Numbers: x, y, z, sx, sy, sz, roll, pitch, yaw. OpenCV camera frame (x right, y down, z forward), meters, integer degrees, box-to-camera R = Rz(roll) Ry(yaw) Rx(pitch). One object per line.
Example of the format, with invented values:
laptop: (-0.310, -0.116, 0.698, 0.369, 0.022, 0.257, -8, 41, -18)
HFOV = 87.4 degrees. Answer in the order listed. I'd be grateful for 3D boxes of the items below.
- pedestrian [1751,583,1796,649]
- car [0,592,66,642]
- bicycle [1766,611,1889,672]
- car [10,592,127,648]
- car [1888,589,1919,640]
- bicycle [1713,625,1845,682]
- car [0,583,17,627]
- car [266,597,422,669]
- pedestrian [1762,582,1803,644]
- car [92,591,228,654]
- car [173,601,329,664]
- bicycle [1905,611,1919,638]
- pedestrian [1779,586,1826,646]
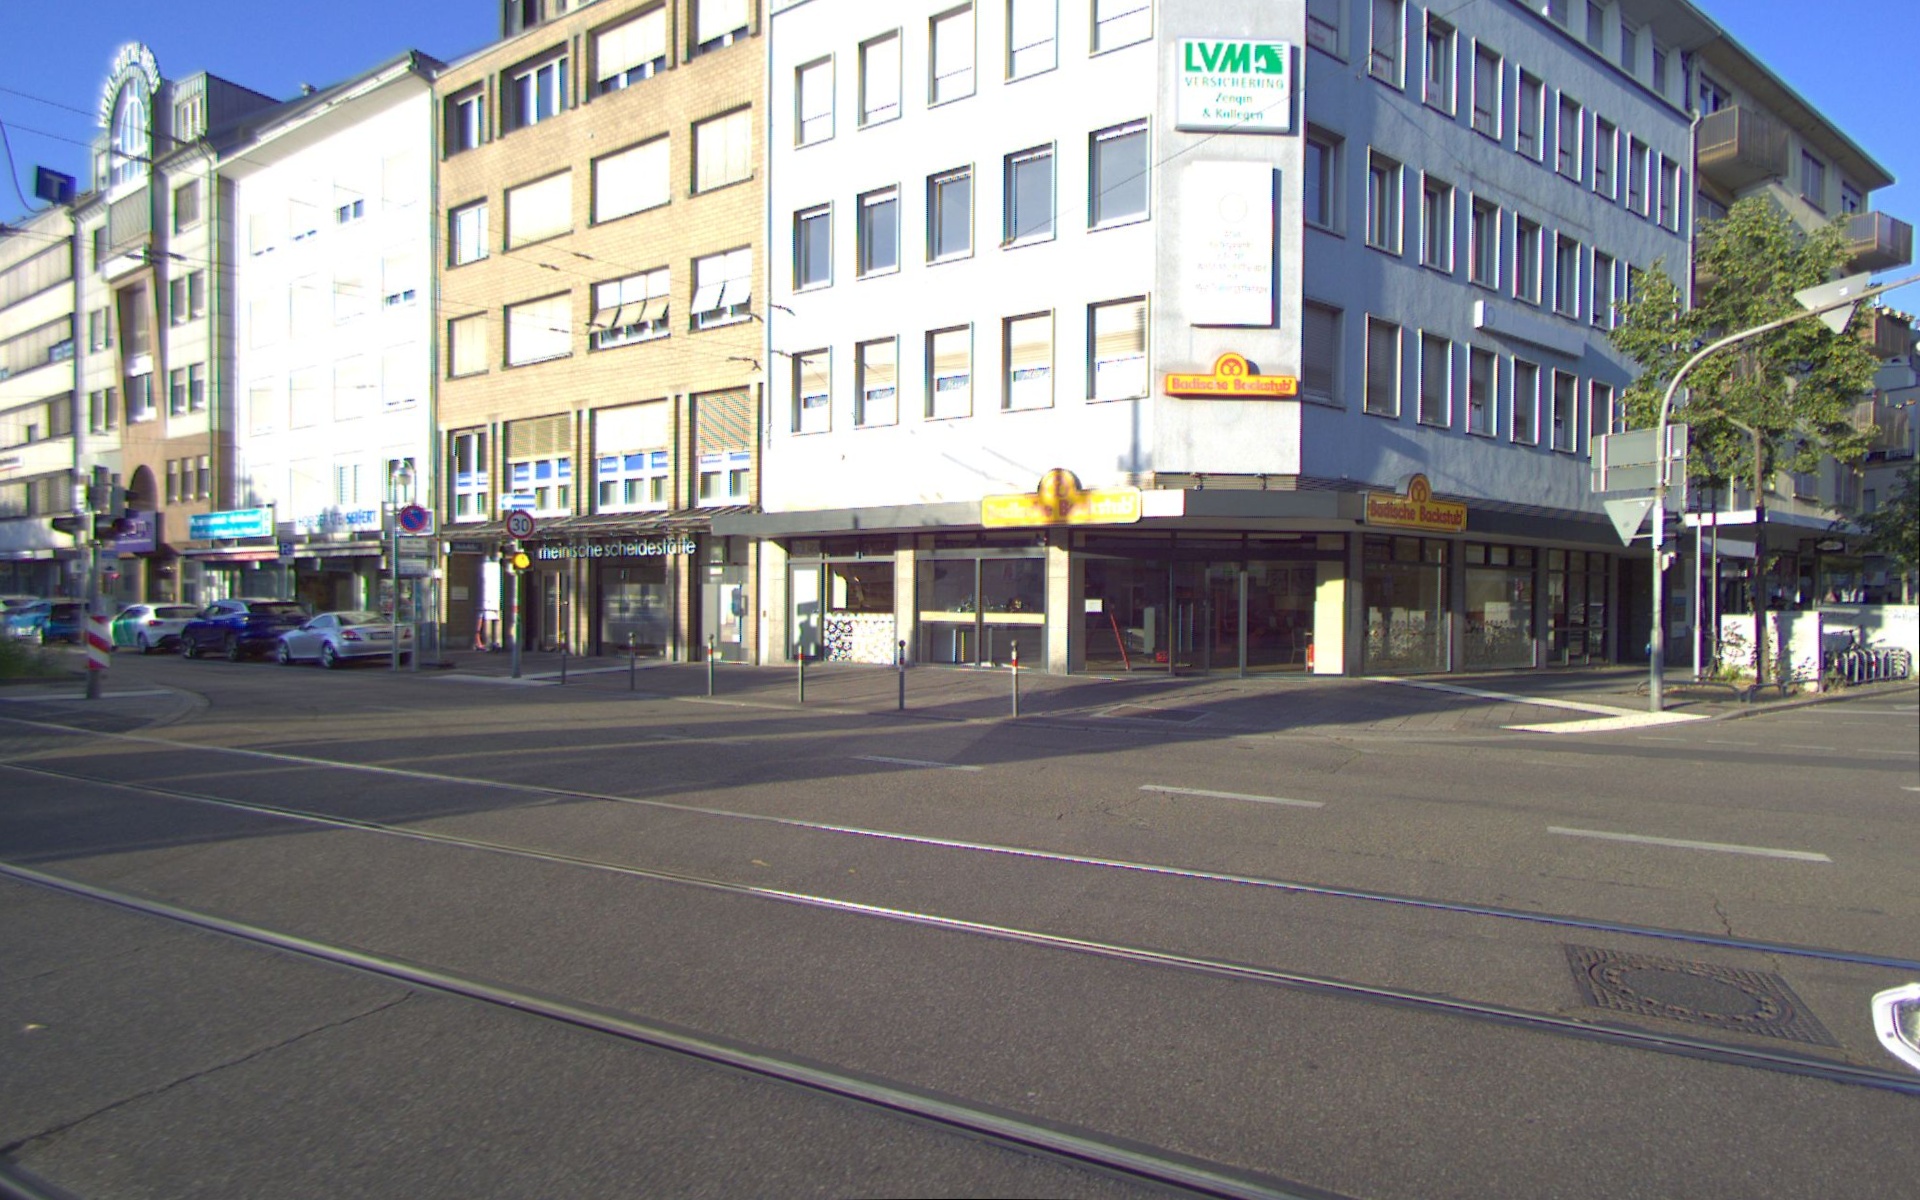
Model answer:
pedestrian: (23.447, 0.445, 28.964, 0.732, 1.872, 0.765, -1, 1, -24)
car: (-35.195, 0.591, 37.302, 4.534, 1.760, 2.042, 0, 1, 36)
bicycle: (19.344, 0.893, 22.453, 0.486, 1.235, 1.997, 1, 1, -33)
car: (-30.699, 0.631, 34.566, 4.534, 1.760, 2.042, 0, 1, 36)
car: (36.871, 0.585, 36.162, 4.801, 1.852, 1.993, 2, 1, 36)
bicycle: (16.559, 1.053, 20.355, 0.487, 1.005, 1.994, 1, 1, -37)
car: (-40.738, 0.190, 41.288, 4.534, 1.760, 2.042, 0, 1, 36)
car: (-15.011, 0.732, 24.411, 4.232, 1.596, 1.793, 0, 1, 37)
pedestrian: (24.635, 0.378, 30.087, 0.804, 1.843, 0.737, -1, 0, -32)
car: (-24.253, 0.615, 30.421, 4.534, 1.760, 2.042, 0, 1, 36)
car: (-18.942, 0.789, 26.786, 4.534, 1.496, 2.041, 0, 1, 36)
bicycle: (37.230, 0.961, 38.922, 1.996, 1.005, 0.486, 1, 1, -36)
pedestrian: (24.438, 0.457, 29.145, 0.728, 1.699, 0.770, 1, 1, 9)
